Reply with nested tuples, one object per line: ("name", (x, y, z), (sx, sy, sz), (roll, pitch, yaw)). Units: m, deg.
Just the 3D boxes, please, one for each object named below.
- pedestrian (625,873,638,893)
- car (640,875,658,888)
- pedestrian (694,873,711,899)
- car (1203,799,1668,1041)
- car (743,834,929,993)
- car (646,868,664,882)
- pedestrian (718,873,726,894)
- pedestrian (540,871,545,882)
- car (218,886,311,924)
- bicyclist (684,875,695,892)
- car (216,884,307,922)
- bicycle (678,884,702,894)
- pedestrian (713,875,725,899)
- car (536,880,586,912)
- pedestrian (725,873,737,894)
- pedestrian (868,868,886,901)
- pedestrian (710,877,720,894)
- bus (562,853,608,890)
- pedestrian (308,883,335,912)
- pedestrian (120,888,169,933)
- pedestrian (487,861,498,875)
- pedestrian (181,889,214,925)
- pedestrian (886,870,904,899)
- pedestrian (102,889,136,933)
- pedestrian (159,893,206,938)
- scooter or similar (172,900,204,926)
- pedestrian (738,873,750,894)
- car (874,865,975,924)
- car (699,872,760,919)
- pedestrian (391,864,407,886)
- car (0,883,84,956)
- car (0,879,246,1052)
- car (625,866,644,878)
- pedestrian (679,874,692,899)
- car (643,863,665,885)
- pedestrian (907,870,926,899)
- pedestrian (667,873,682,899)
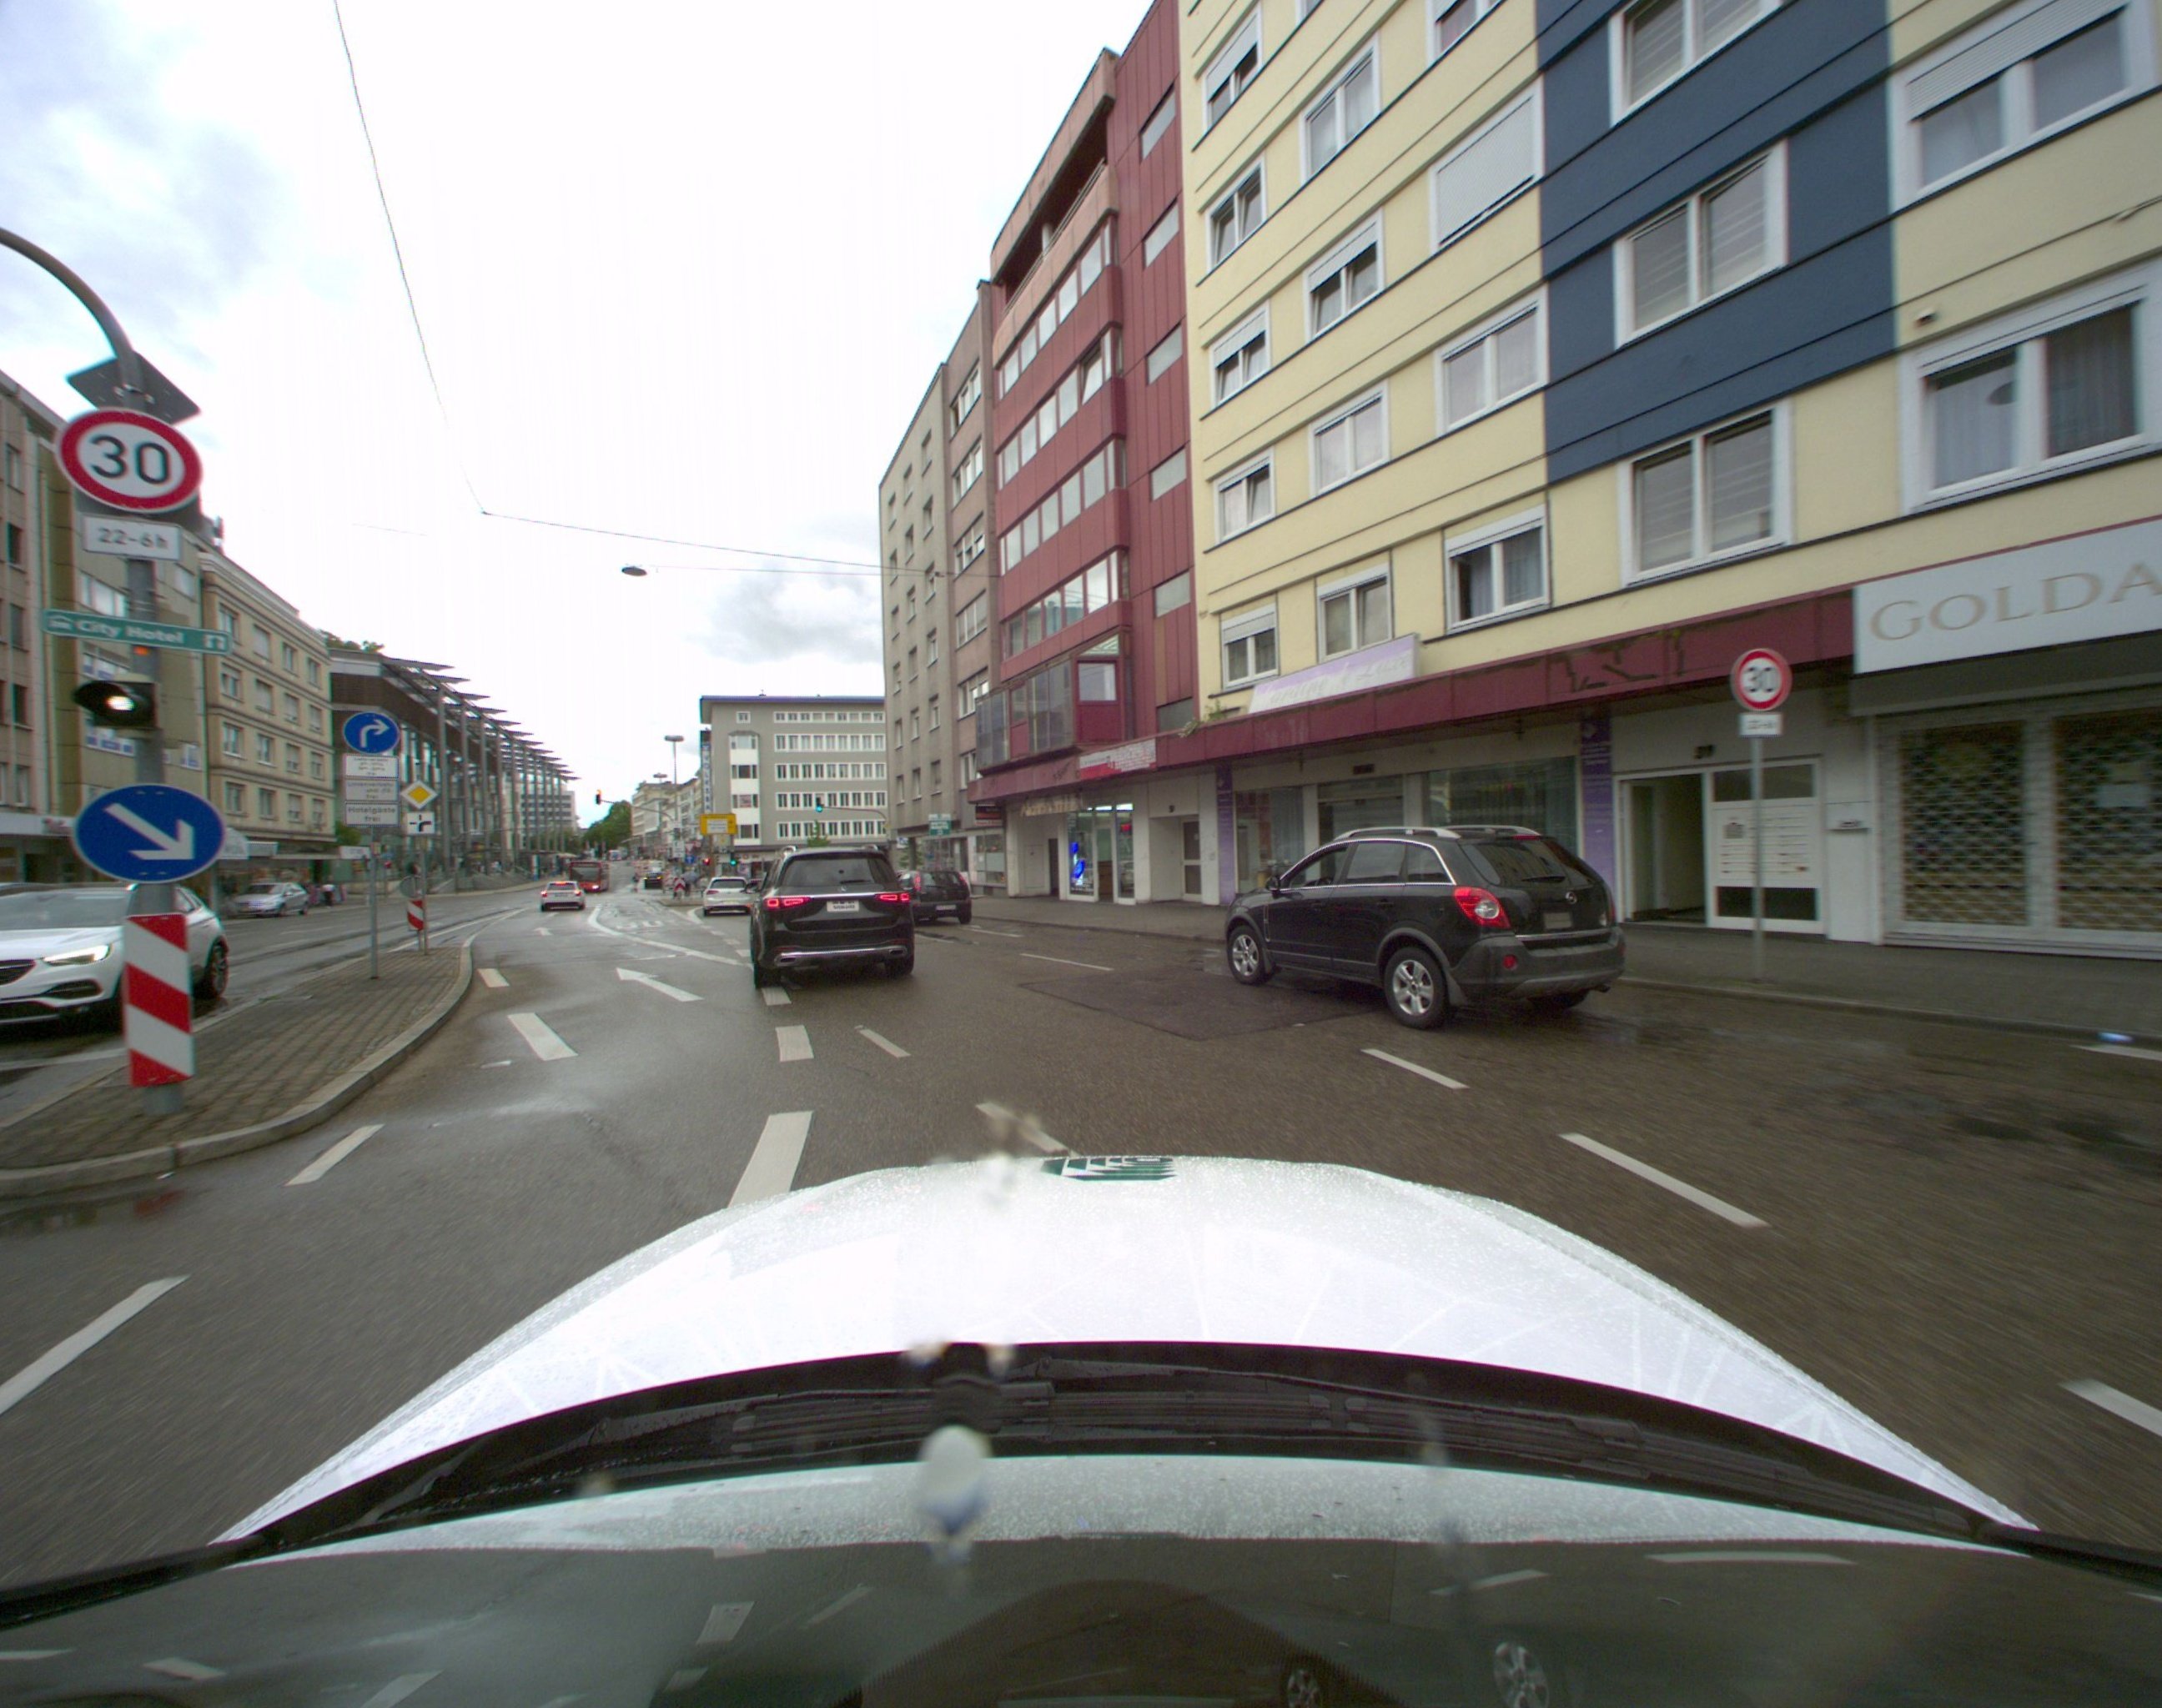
("pedestrian", (-43.601, 2.837, 79.007), (0.958, 1.887, 0.804), (0, -2, -22))
("car", (-50.544, 3.183, 95.311), (1.747, 1.527, 3.964), (1, -2, -27))
("pedestrian", (-24.803, 2.107, 53.351), (0.982, 1.672, 0.908), (0, -2, -23))
("car", (3.168, 0.492, 8.353), (1.914, 1.785, 4.271), (-1, 0, -21))
("car", (-3.832, 0.712, 12.066), (2.097, 1.817, 4.755), (-1, 0, -23))
("car", (-56.993, 2.795, 109.008), (1.873, 1.826, 4.063), (1, -2, -31))
("pedestrian", (-29.357, 2.420, 66.627), (0.571, 1.669, 0.498), (0, -1, -22))
("pedestrian", (-72.120, 3.013, 109.012), (0.514, 1.341, 0.415), (1, -2, -42))
("car", (-37.725, 2.296, 37.767), (1.858, 1.551, 4.358), (1, -1, -29))
("bicyclist", (-39.627, 3.015, 82.443), (0.846, 1.704, 0.620), (-2, -1, -15))
("car", (-37.810, 2.233, 37.702), (1.709, 1.563, 4.164), (0, -1, -27))
("bicycle", (-39.578, 3.523, 82.428), (2.141, 0.993, 0.691), (-1, -1, -15))
("pedestrian", (-24.300, 2.197, 54.712), (0.716, 1.568, 0.848), (1, -3, -24))
("car", (-25.969, 2.067, 40.785), (1.803, 1.416, 4.587), (-1, -1, -29))
("pedestrian", (-28.761, 2.420, 66.931), (0.783, 1.689, 0.634), (0, -2, -20))
("pedestrian", (-11.143, 1.659, 44.411), (0.622, 1.692, 0.783), (-4, -2, 7))
("pedestrian", (-29.877, 2.578, 66.397), (0.634, 1.339, 0.581), (1, -2, -35))
("bus", (-50.159, 1.856, 82.719), (2.937, 3.321, 18.307), (0, -2, -28))
("pedestrian", (-44.100, 2.517, 47.287), (0.766, 1.628, 0.849), (-1, -2, 18))
("pedestrian", (-37.345, 2.225, 32.498), (0.958, 1.695, 1.076), (1, -1, -30))
("pedestrian", (-71.363, 1.721, 98.749), (1.046, 1.713, 0.997), (0, -2, -34))
("pedestrian", (-38.329, 2.275, 35.330), (0.671, 1.484, 1.055), (1, -1, -30))
("pedestrian", (-10.680, 1.749, 46.782), (0.738, 1.635, 0.598), (-6, -4, 13))
("pedestrian", (-35.872, 2.117, 30.372), (0.645, 1.574, 0.606), (-1, -1, -29))
("pedestrian", (-36.034, 2.456, 32.681), (0.958, 1.714, 1.080), (1, -1, -30))
("scooter or similar", (-37.885, 2.483, 34.561), (0.741, 1.054, 0.694), (1, -1, -30))
("pedestrian", (-28.327, 2.465, 68.463), (0.835, 1.779, 0.611), (1, -2, -35))
("car", (-4.244, 1.055, 21.622), (1.726, 1.420, 3.737), (0, -2, -26))
("car", (-13.634, 1.538, 31.465), (1.960, 1.574, 3.965), (1, 0, -26))
("pedestrian", (-61.712, 1.918, 73.687), (0.886, 1.981, 0.965), (0, -2, -29))
("car", (-28.694, 1.717, 21.064), (1.860, 1.827, 4.918), (0, -1, -28))
("car", (-11.690, 1.111, 9.353), (2.008, 1.552, 4.382), (1, -1, -33))
("car", (-67.039, 2.705, 122.189), (2.437, 1.780, 5.105), (1, -2, -29))
("pedestrian", (-26.858, 2.222, 55.321), (0.760, 1.692, 0.688), (1, -3, -24))
("car", (-60.182, 2.847, 114.671), (2.460, 2.958, 6.092), (1, -2, -31))
("pedestrian", (-10.048, 1.863, 49.643), (1.036, 1.722, 0.835), (-3, -1, -12))
("pedestrian", (-26.618, 2.108, 53.323), (0.787, 1.711, 0.701), (1, -3, -24))
